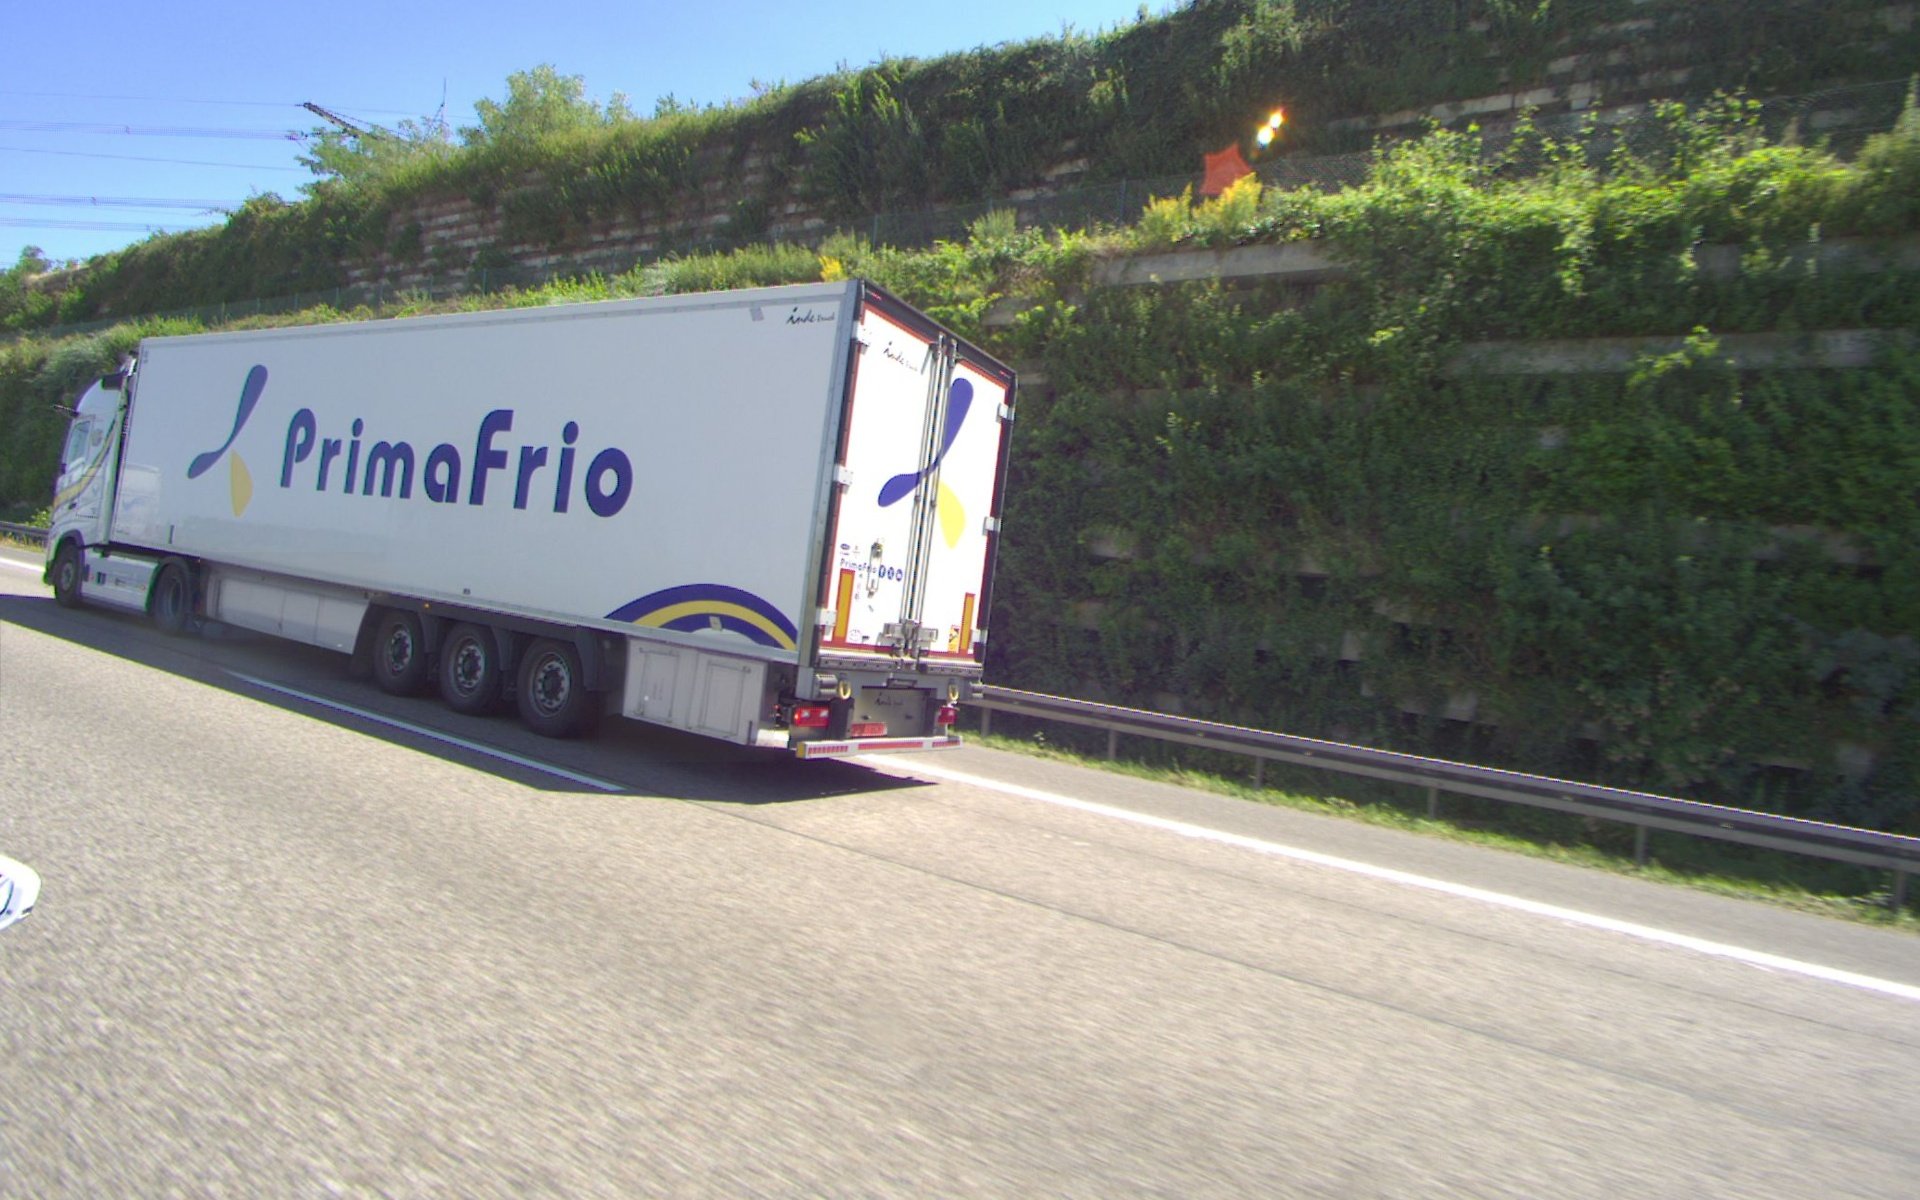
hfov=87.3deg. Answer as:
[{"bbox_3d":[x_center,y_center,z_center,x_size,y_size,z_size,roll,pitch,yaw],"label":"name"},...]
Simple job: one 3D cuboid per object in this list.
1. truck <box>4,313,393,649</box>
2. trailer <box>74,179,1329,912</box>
[{"bbox_3d":[-12.169,-1.794,15.942,6.154,4.268,2.512,6,-2,33],"label":"truck"},{"bbox_3d":[-5.025,-1.002,11.344,16.747,4.262,2.518,7,-1,32],"label":"trailer"}]
